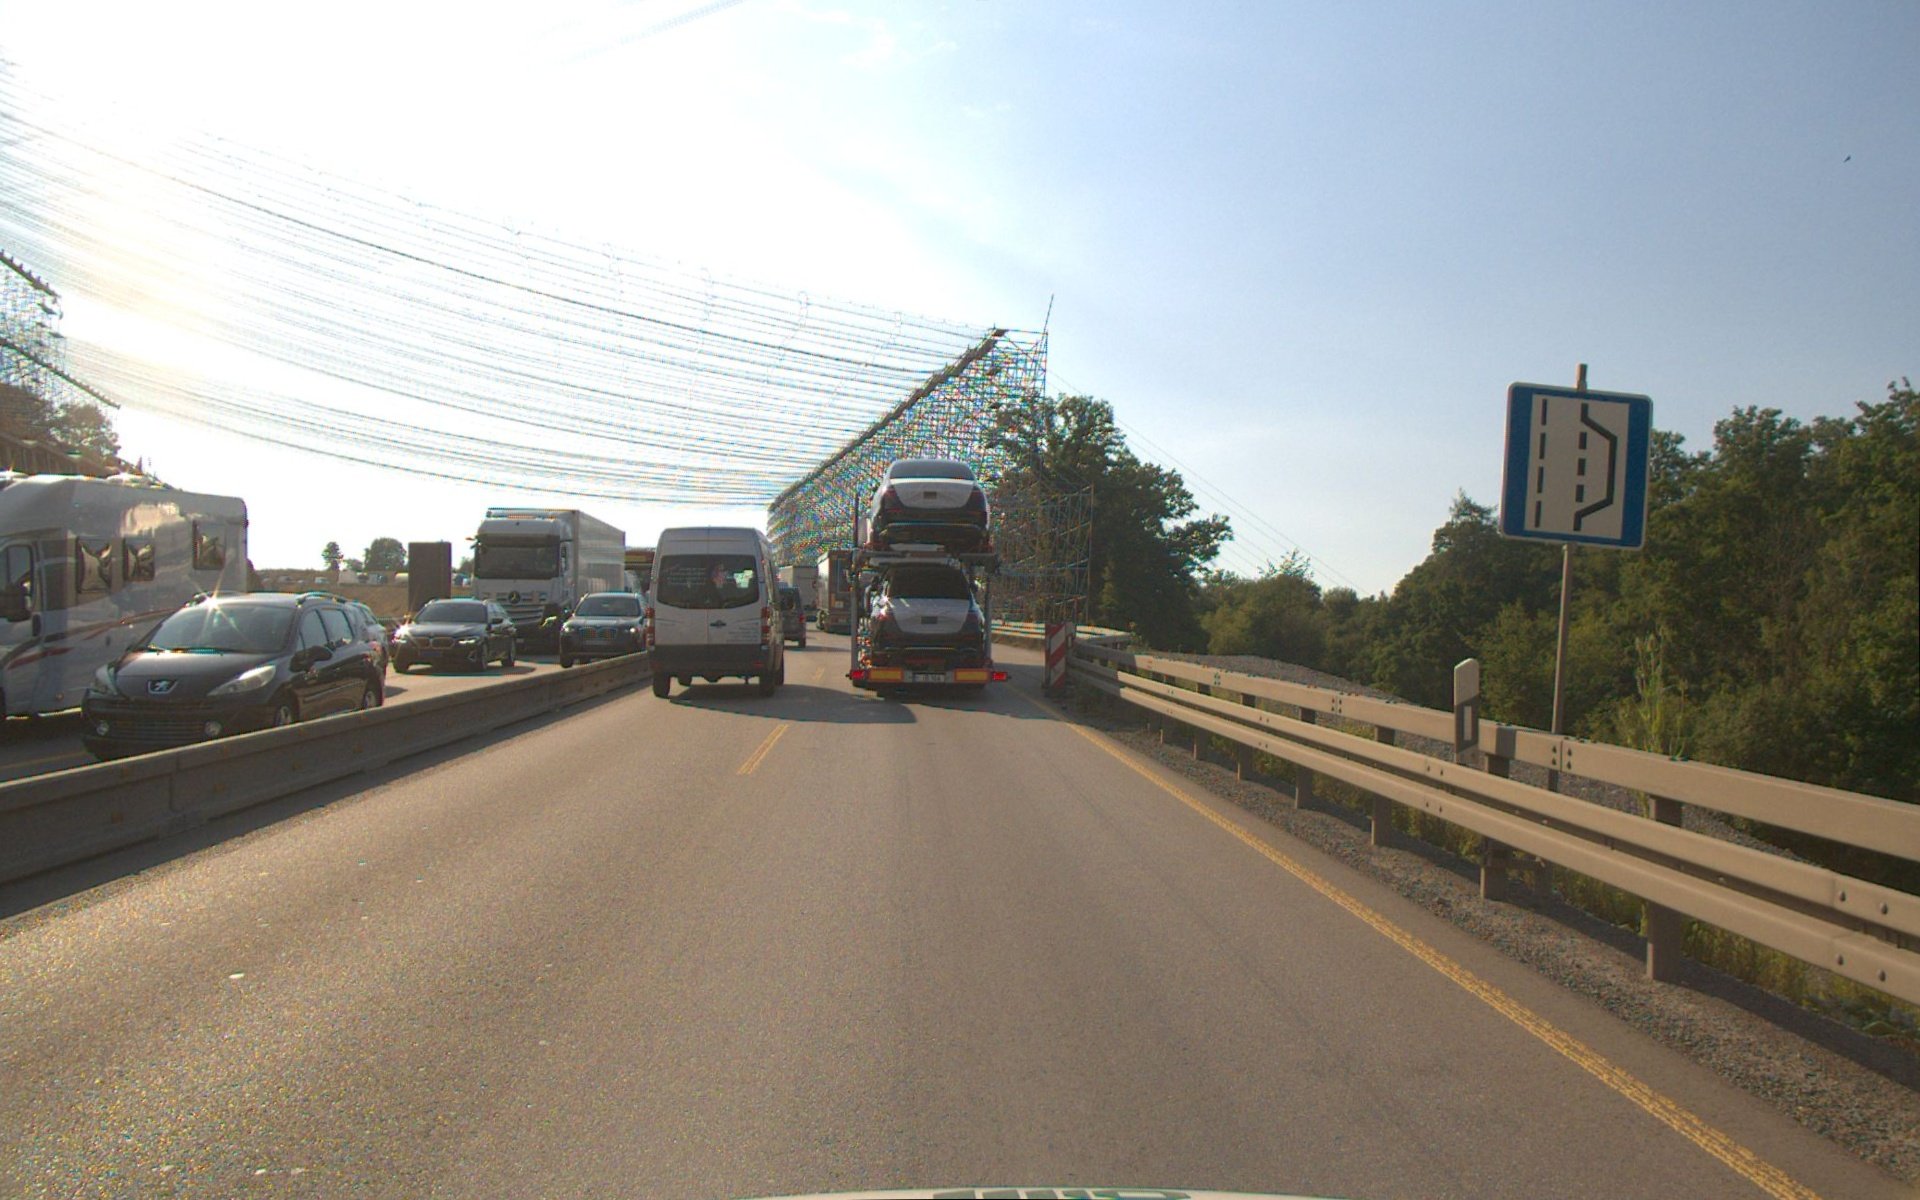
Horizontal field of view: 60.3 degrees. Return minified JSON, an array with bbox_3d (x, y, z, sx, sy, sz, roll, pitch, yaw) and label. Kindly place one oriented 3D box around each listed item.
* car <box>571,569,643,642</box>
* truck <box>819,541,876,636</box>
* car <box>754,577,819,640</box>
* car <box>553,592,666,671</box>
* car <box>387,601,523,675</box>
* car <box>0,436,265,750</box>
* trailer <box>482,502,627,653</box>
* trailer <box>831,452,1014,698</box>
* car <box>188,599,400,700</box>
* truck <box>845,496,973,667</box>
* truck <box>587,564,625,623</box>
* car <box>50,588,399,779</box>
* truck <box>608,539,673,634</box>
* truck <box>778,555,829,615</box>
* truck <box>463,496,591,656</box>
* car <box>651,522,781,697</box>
[{"bbox_3d":[-14.242,0.166,67.088,1.983,2.737,6.941,1,1,-5],"label":"car"},{"bbox_3d":[-5.840,-0.574,85.395,2.678,4.462,11.511,1,0,-4],"label":"truck"},{"bbox_3d":[-5.950,0.292,56.243,1.957,2.049,3.991,1,-1,-9],"label":"car"},{"bbox_3d":[-8.051,0.671,38.383,1.781,1.606,4.752,-2,1,-3],"label":"car"},{"bbox_3d":[-10.665,0.773,35.235,1.709,1.486,4.709,0,0,-4],"label":"car"},{"bbox_3d":[-10.378,-0.026,18.555,2.288,2.969,7.628,0,-1,-3],"label":"car"},{"bbox_3d":[-12.926,-0.596,53.955,2.668,4.292,13.731,0,0,-6],"label":"trailer"},{"bbox_3d":[-0.953,-0.340,33.009,2.812,3.790,14.937,0,0,-3],"label":"trailer"},{"bbox_3d":[-10.511,0.749,26.477,1.714,1.447,4.606,1,-1,-3],"label":"car"},{"bbox_3d":[-1.303,-0.385,40.330,2.824,3.767,7.321,0,0,-3],"label":"truck"},{"bbox_3d":[-26.612,-0.455,124.104,2.617,4.304,6.082,0,0,-14],"label":"truck"},{"bbox_3d":[-6.961,0.700,16.131,1.746,1.548,3.998,2,1,-3],"label":"car"},{"bbox_3d":[-15.346,-0.593,79.675,2.693,4.375,5.923,0,0,-8],"label":"truck"},{"bbox_3d":[-12.355,-1.152,129.468,3.617,4.294,13.649,-2,1,-7],"label":"truck"},{"bbox_3d":[-12.262,-0.630,47.265,2.660,4.292,5.675,0,0,-6],"label":"truck"},{"bbox_3d":[-3.946,0.158,27.283,1.919,2.667,3.995,0,-1,-6],"label":"car"}]
